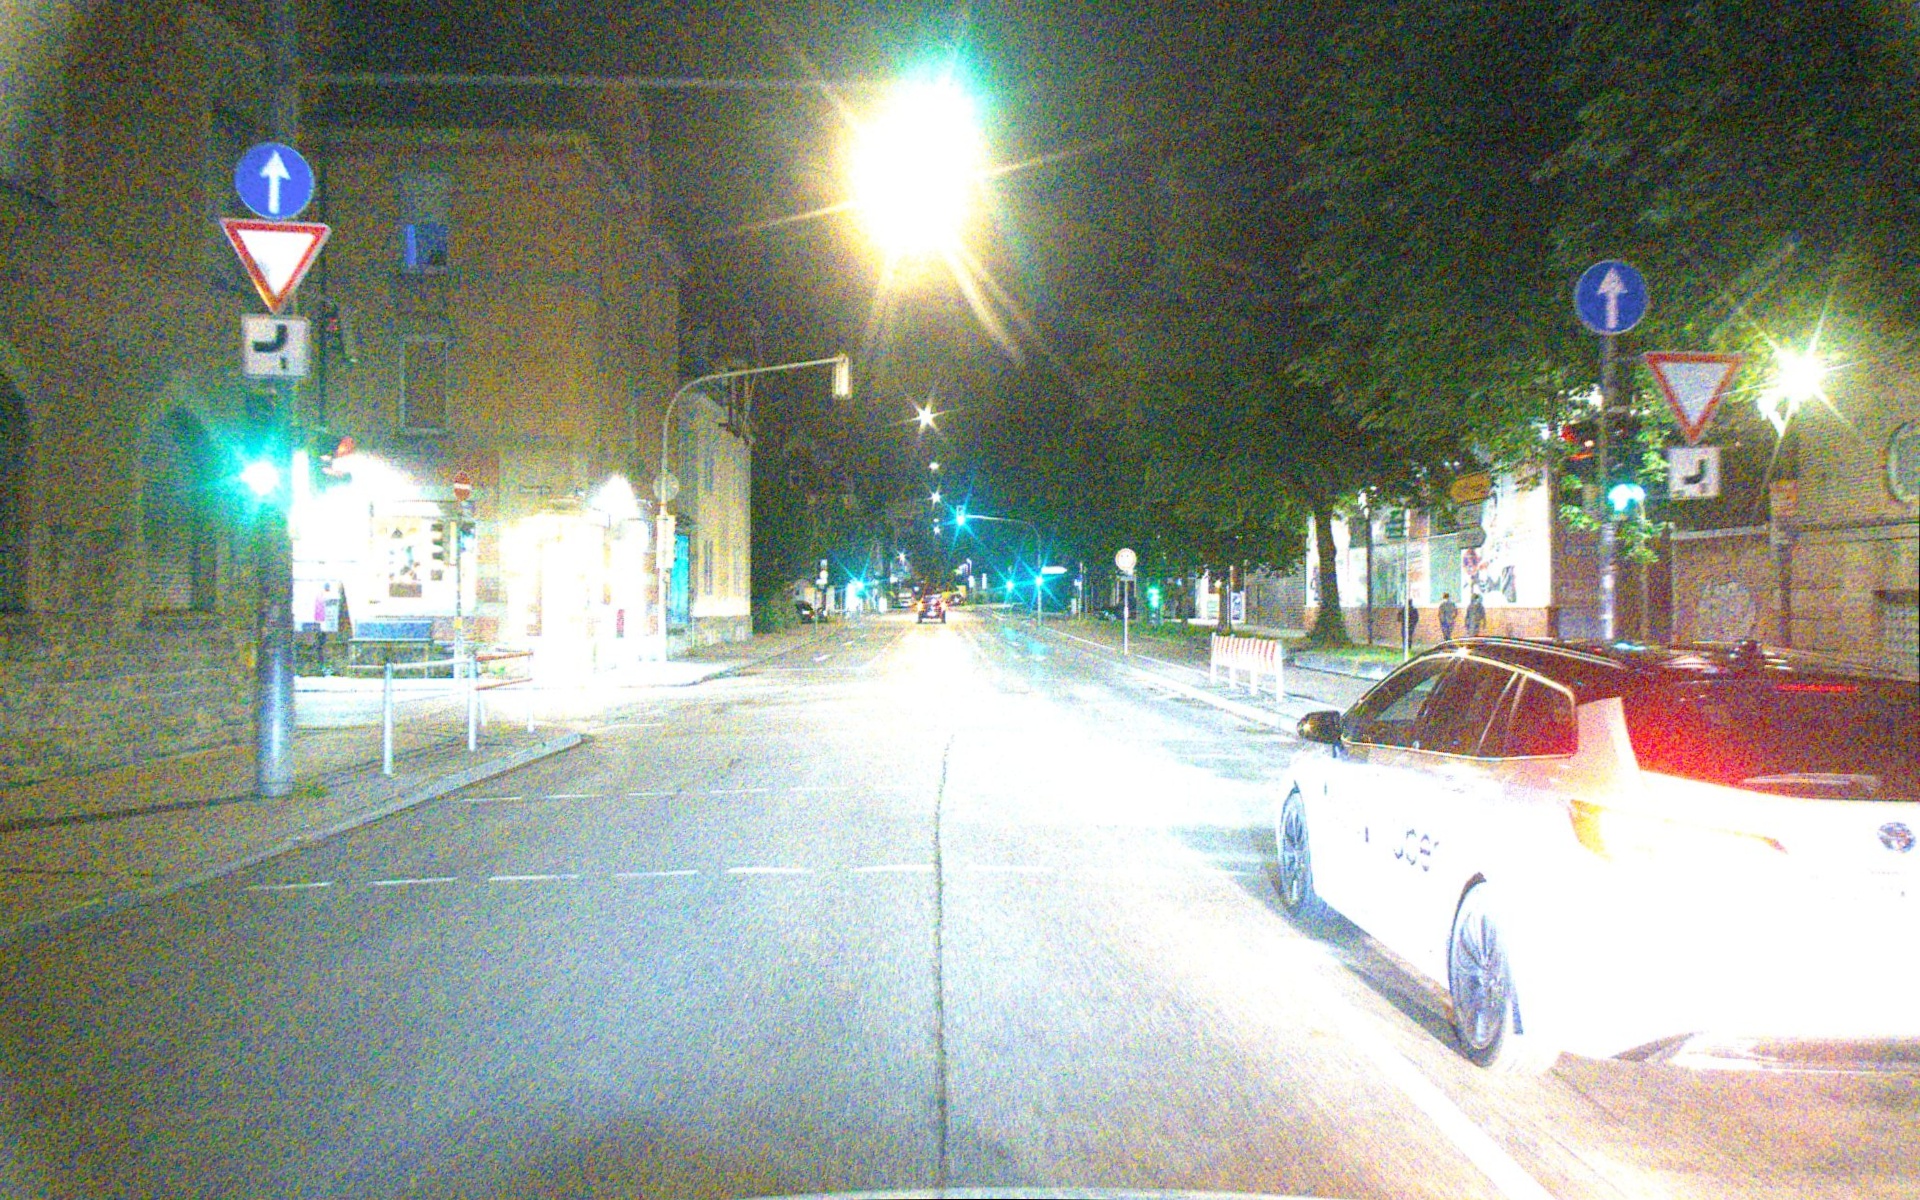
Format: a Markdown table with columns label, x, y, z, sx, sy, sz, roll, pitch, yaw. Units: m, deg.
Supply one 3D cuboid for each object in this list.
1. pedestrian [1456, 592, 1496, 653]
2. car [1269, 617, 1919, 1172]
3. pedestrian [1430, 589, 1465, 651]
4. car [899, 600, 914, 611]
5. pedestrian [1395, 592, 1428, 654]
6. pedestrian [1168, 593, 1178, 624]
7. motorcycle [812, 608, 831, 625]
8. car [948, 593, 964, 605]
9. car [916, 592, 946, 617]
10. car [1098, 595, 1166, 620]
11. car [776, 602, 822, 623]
| label | x | y | z | sx | sy | sz | roll | pitch | yaw |
| --- | --- | --- | --- | --- | --- | --- | --- | --- | --- |
| pedestrian | 15.395 | 0.664 | 49.359 | 0.882 | 1.800 | 0.907 | -1 | 0 | -1 |
| car | 2.561 | 0.836 | 6.617 | 1.694 | 1.460 | 4.209 | 2 | 0 | -2 |
| pedestrian | 14.393 | 0.590 | 48.856 | 0.724 | 1.800 | 0.907 | -1 | 0 | -1 |
| car | -6.832 | 0.711 | 211.004 | 1.742 | 1.414 | 3.998 | -1 | 0 | -3 |
| pedestrian | 13.379 | 0.670 | 49.004 | 0.699 | 1.800 | 0.907 | -1 | 0 | -1 |
| pedestrian | 13.809 | 0.550 | 107.133 | 0.521 | 2.049 | 0.670 | -1 | 0 | -2 |
| motorcycle | -9.815 | 1.154 | 116.941 | 0.769 | 1.225 | 2.436 | -1 | 0 | -19 |
| car | -0.567 | -0.116 | 225.664 | 1.954 | 1.624 | 3.997 | -1 | 0 | -3 |
| car | -2.007 | 0.330 | 112.449 | 1.953 | 1.668 | 3.998 | 0 | 0 | -3 |
| car | 10.220 | 0.445 | 98.695 | 3.904 | 1.411 | 1.772 | -1 | 0 | 2 |
| car | -11.682 | 0.903 | 119.798 | 1.786 | 1.512 | 3.955 | -1 | 0 | -32 |
